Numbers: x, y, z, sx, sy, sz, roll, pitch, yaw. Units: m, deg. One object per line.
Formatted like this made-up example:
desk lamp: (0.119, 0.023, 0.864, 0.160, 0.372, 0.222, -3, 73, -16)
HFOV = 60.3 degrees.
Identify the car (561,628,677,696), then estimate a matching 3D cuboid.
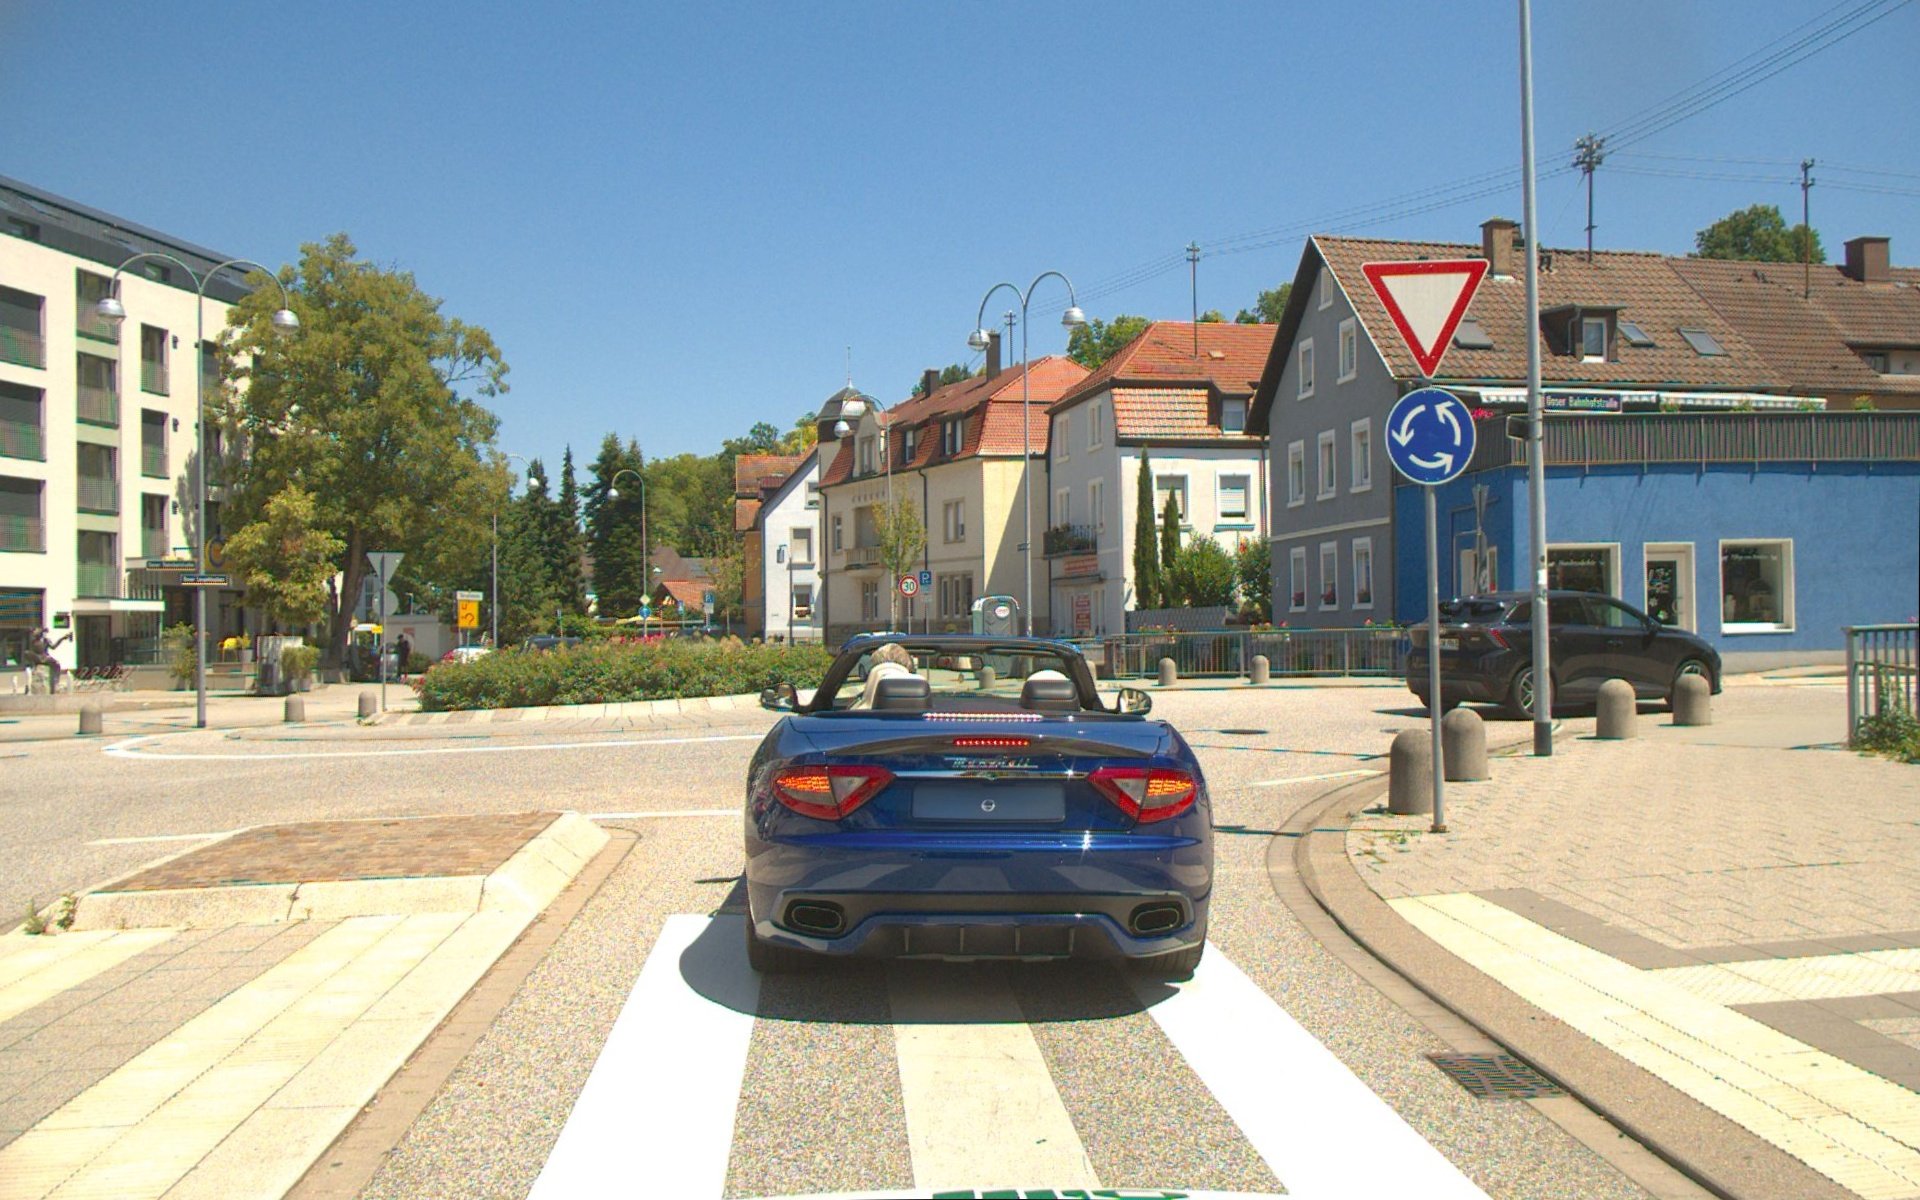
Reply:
car: (-8.923, 1.609, 43.620, 1.760, 1.671, 4.062, -2, -1, 7)

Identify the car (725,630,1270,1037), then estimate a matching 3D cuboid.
car: (0.144, 0.842, 7.844, 1.871, 1.384, 4.285, 0, -1, 0)

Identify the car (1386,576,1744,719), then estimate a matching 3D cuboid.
car: (7.635, 0.538, 20.854, 4.194, 1.574, 1.797, -2, 0, -25)

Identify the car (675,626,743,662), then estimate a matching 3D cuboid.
car: (-12.027, 2.115, 79.062, 1.831, 1.616, 3.958, -2, -1, -31)

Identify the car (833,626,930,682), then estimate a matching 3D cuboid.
car: (-2.531, 1.721, 52.229, 1.891, 1.641, 4.122, -1, -2, -20)

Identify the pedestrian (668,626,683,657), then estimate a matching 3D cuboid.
pedestrian: (-15.285, 2.238, 88.818, 0.604, 1.613, 0.582, -1, -1, -27)

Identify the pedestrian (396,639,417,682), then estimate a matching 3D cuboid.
pedestrian: (-21.028, 2.301, 62.809, 0.523, 1.603, 0.563, -2, -1, 10)

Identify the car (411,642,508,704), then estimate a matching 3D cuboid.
car: (-13.452, 1.932, 44.660, 1.956, 1.536, 3.992, -1, -1, -9)
